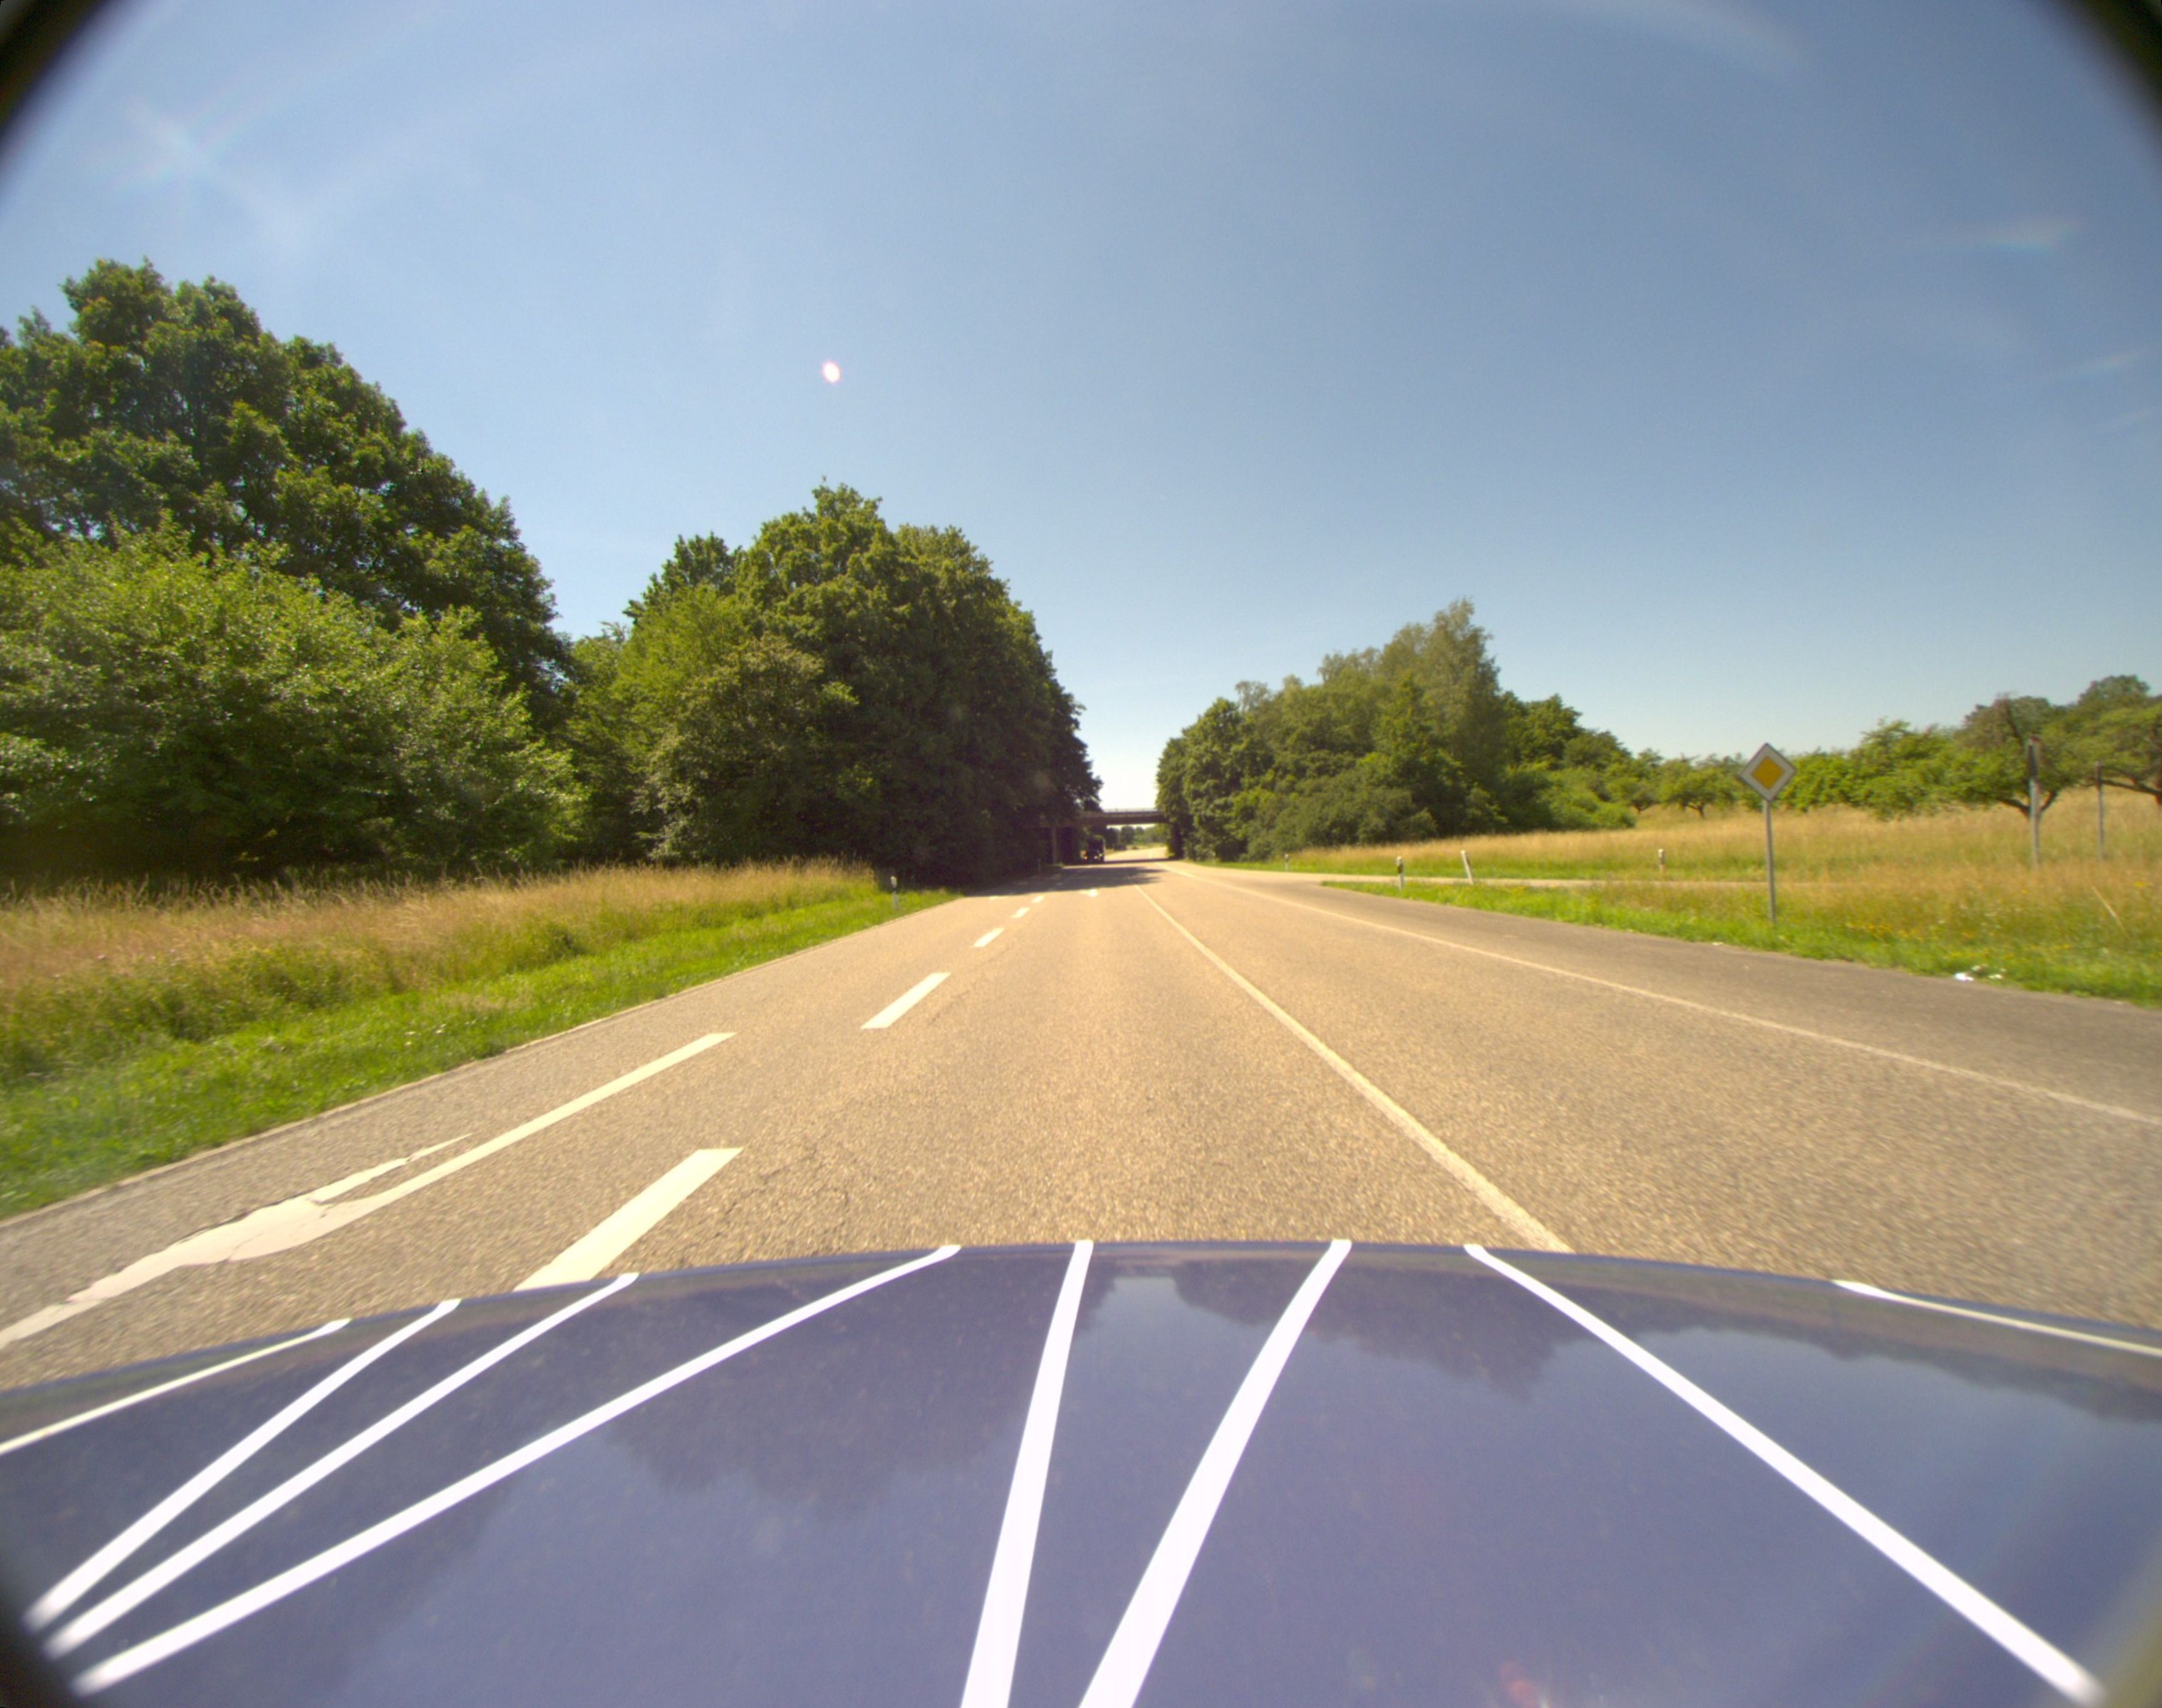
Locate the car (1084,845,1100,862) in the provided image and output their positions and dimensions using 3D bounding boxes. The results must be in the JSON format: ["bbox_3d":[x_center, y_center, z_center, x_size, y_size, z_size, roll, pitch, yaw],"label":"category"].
[{"bbox_3d":[1.340,-0.034,88.271,1.746,1.833,4.000,-2,1,2],"label":"car"}]

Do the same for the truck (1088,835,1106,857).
[{"bbox_3d":[2.358,-1.172,109.894,2.457,2.927,6.974,-2,1,2],"label":"truck"}]
